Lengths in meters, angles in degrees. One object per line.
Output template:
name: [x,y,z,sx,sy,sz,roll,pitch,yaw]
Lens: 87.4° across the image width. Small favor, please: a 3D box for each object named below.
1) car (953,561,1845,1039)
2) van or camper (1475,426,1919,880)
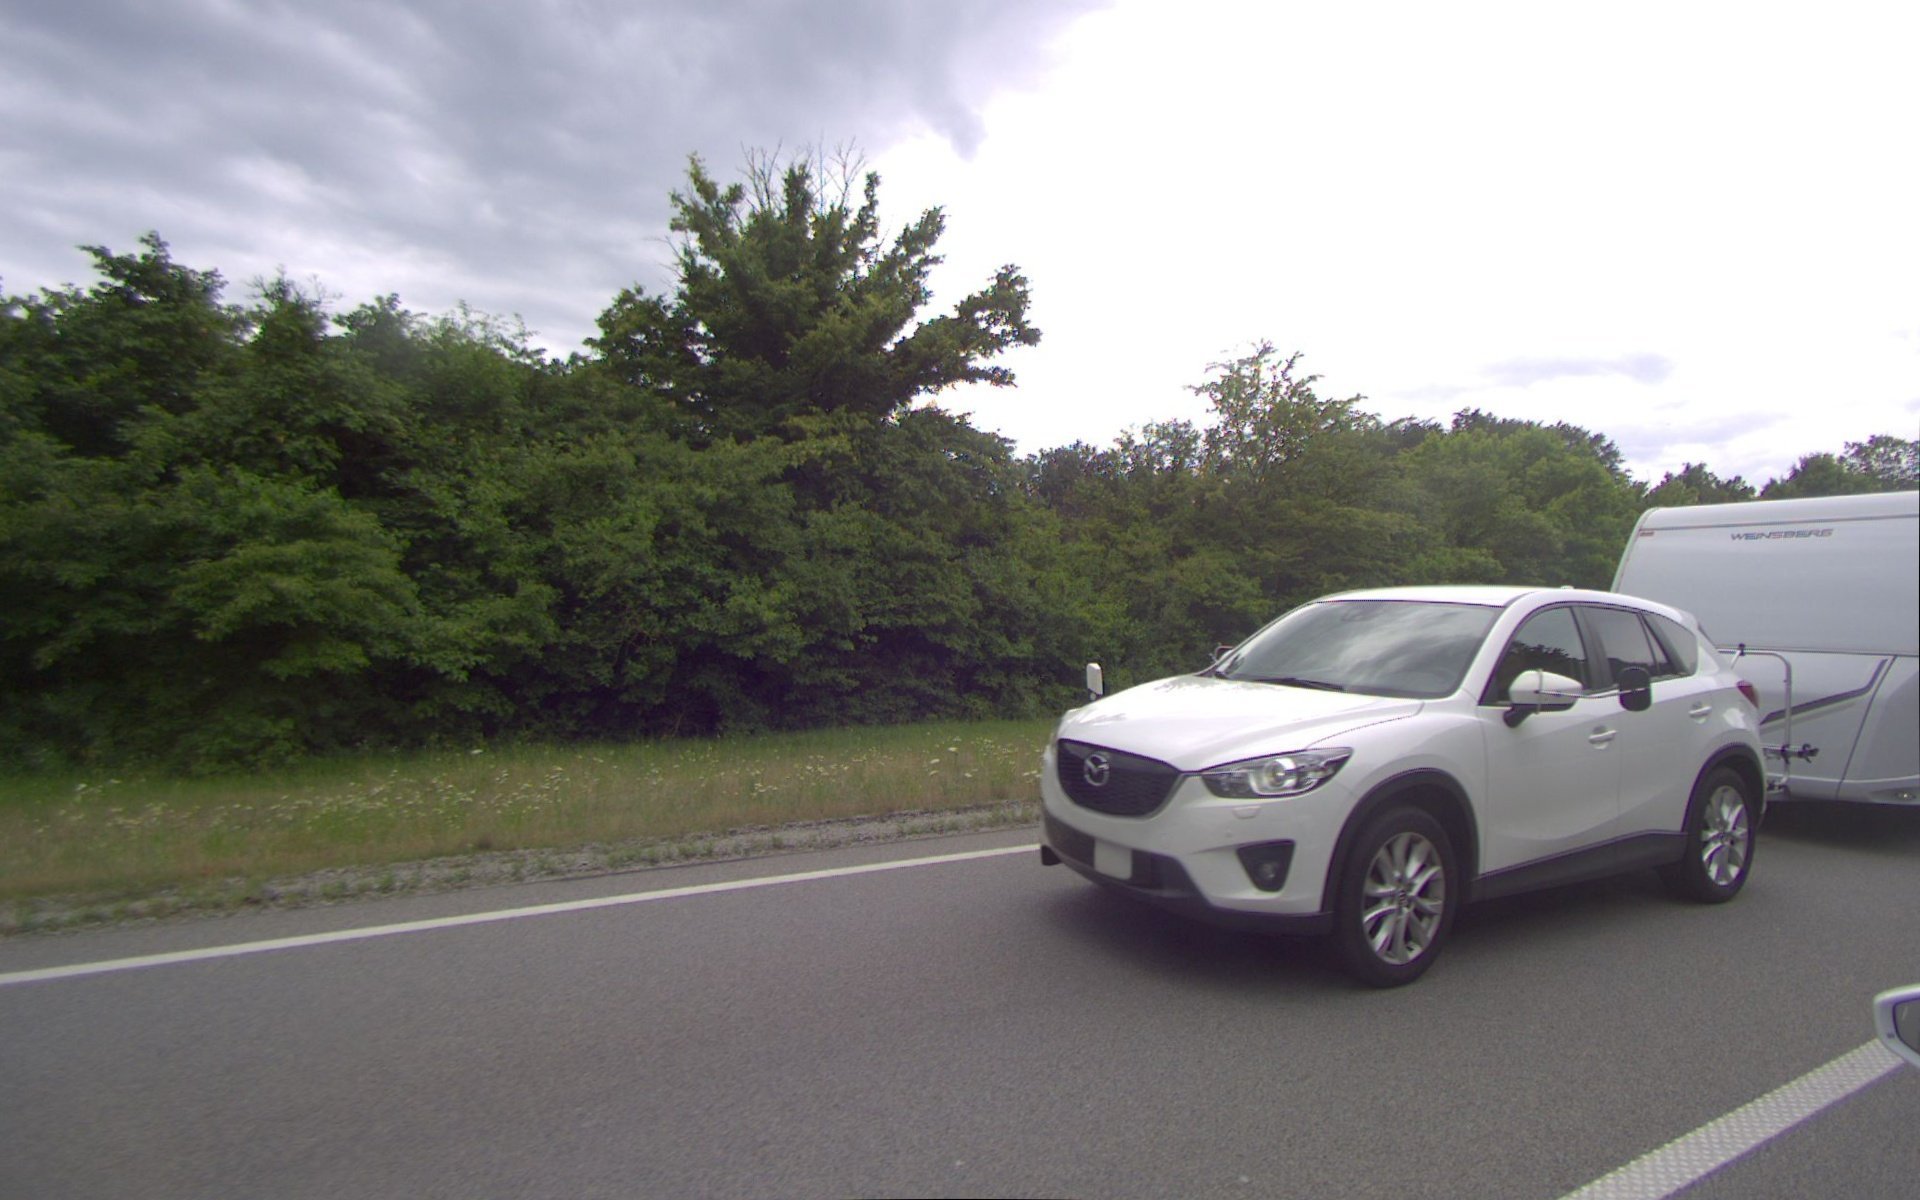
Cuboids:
car: [2.531,0.730,5.588,4.637,1.625,2.268,2,0,-31]
van or camper: [7.296,0.375,8.398,6.207,2.609,2.368,2,0,-31]
